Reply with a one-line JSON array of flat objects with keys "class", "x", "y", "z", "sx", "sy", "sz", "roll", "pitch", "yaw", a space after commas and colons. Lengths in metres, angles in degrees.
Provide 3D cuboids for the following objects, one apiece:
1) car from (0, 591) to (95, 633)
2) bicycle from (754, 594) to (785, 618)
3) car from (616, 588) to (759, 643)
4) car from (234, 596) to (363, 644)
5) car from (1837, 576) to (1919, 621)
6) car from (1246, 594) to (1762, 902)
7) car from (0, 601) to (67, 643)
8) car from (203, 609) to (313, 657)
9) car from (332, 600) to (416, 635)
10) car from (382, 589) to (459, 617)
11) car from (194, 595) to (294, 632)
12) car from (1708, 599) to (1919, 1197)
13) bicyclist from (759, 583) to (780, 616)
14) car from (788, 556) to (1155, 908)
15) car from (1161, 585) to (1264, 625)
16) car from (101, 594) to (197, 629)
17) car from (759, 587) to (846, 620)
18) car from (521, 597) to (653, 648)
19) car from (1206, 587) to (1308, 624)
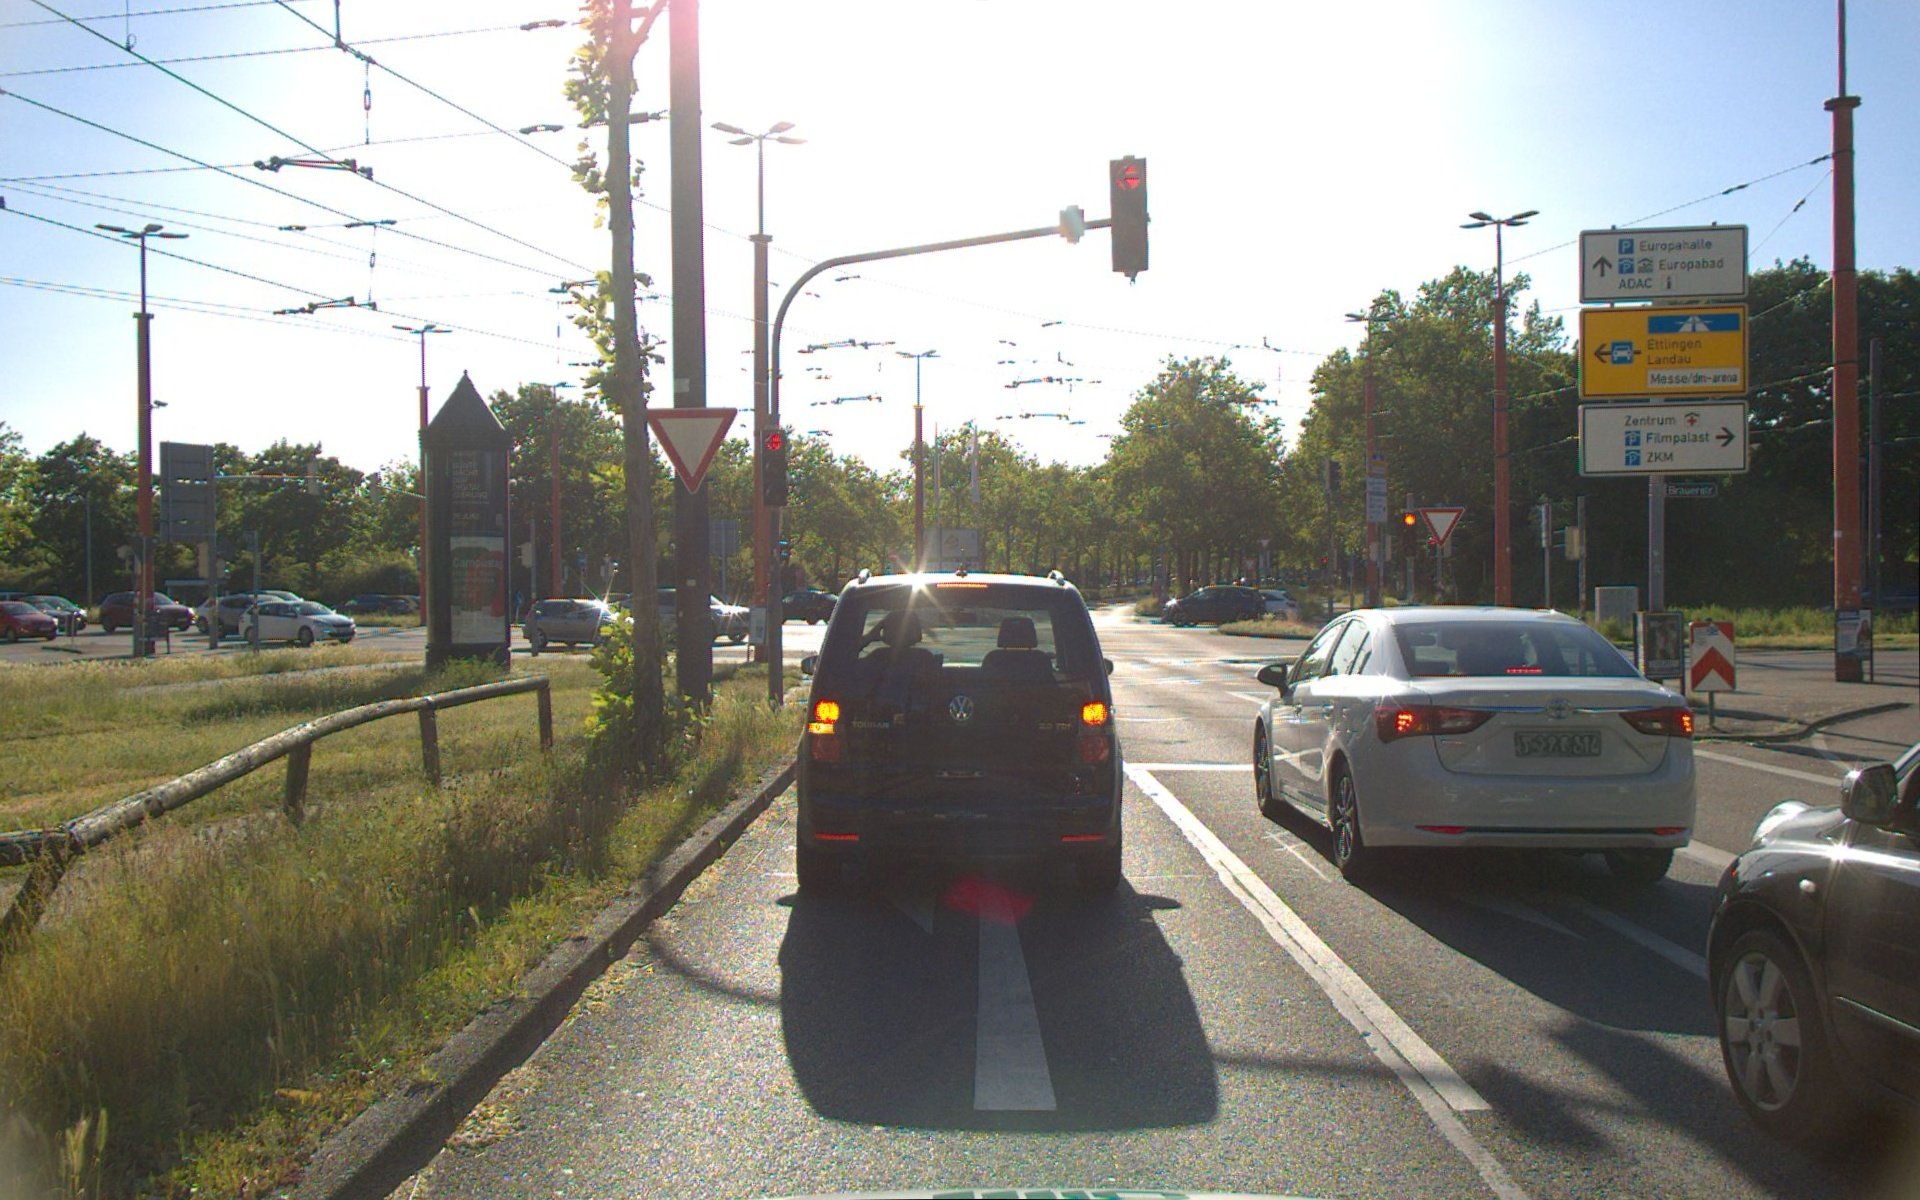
[{"class": "car", "x": -38.517, "y": 0.487, "z": 69.418, "sx": 4.541, "sy": 1.676, "sz": 1.753, "roll": 0, "pitch": 0, "yaw": 30}, {"class": "bicycle", "x": -11.277, "y": 0.355, "z": 98.020, "sx": 0.955, "sy": 1.413, "sz": 2.982, "roll": 0, "pitch": 0, "yaw": 12}, {"class": "car", "x": -8.835, "y": 0.476, "z": 53.503, "sx": 4.541, "sy": 1.676, "sz": 1.654, "roll": 0, "pitch": 0, "yaw": 30}, {"class": "car", "x": -22.694, "y": 0.669, "z": 56.712, "sx": 4.536, "sy": 1.546, "sz": 1.654, "roll": 0, "pitch": 0, "yaw": 30}, {"class": "car", "x": 32.557, "y": -0.049, "z": 57.056, "sx": 4.055, "sy": 1.537, "sz": 1.654, "roll": 0, "pitch": 0, "yaw": 28}, {"class": "car", "x": 3.016, "y": 0.727, "z": 10.185, "sx": 1.762, "sy": 1.465, "sz": 4.326, "roll": 1, "pitch": 0, "yaw": 0}, {"class": "car", "x": -36.404, "y": 0.822, "z": 63.642, "sx": 4.107, "sy": 1.546, "sz": 1.654, "roll": 0, "pitch": 0, "yaw": 30}, {"class": "car", "x": -26.464, "y": 1.224, "z": 62.338, "sx": 4.248, "sy": 1.721, "sz": 1.653, "roll": 0, "pitch": 0, "yaw": 32}, {"class": "car", "x": -30.013, "y": 0.895, "z": 84.669, "sx": 4.120, "sy": 1.710, "sz": 1.655, "roll": 0, "pitch": 0, "yaw": 25}, {"class": "car", "x": -29.002, "y": 0.139, "z": 88.886, "sx": 3.837, "sy": 1.483, "sz": 1.655, "roll": 0, "pitch": 0, "yaw": 26}, {"class": "car", "x": -29.404, "y": 0.530, "z": 67.927, "sx": 4.060, "sy": 1.440, "sz": 1.542, "roll": 0, "pitch": 0, "yaw": 26}, {"class": "car", "x": 3.137, "y": 0.740, "z": 3.489, "sx": 1.544, "sy": 1.465, "sz": 3.441, "roll": 1, "pitch": 0, "yaw": 0}, {"class": "bicyclist", "x": -11.269, "y": -0.027, "z": 98.061, "sx": 0.955, "sy": 1.937, "sz": 1.051, "roll": 0, "pitch": 0, "yaw": 12}, {"class": "car", "x": 0.068, "y": 0.634, "z": 9.963, "sx": 1.703, "sy": 1.630, "sz": 4.326, "roll": 1, "pitch": 0, "yaw": 0}, {"class": "car", "x": 9.938, "y": 0.175, "z": 65.176, "sx": 3.715, "sy": 1.537, "sz": 1.656, "roll": 0, "pitch": 0, "yaw": 23}, {"class": "car", "x": -34.631, "y": 0.461, "z": 70.635, "sx": 4.060, "sy": 1.440, "sz": 1.542, "roll": 0, "pitch": 0, "yaw": 26}, {"class": "car", "x": -7.436, "y": 0.155, "z": 78.063, "sx": 3.837, "sy": 1.483, "sz": 1.655, "roll": 0, "pitch": 0, "yaw": 26}, {"class": "car", "x": -11.411, "y": 0.661, "z": 50.568, "sx": 3.755, "sy": 1.466, "sz": 1.655, "roll": 0, "pitch": 0, "yaw": 27}, {"class": "car", "x": 12.219, "y": 0.216, "z": 68.058, "sx": 3.837, "sy": 1.483, "sz": 1.655, "roll": 0, "pitch": 0, "yaw": 26}]
